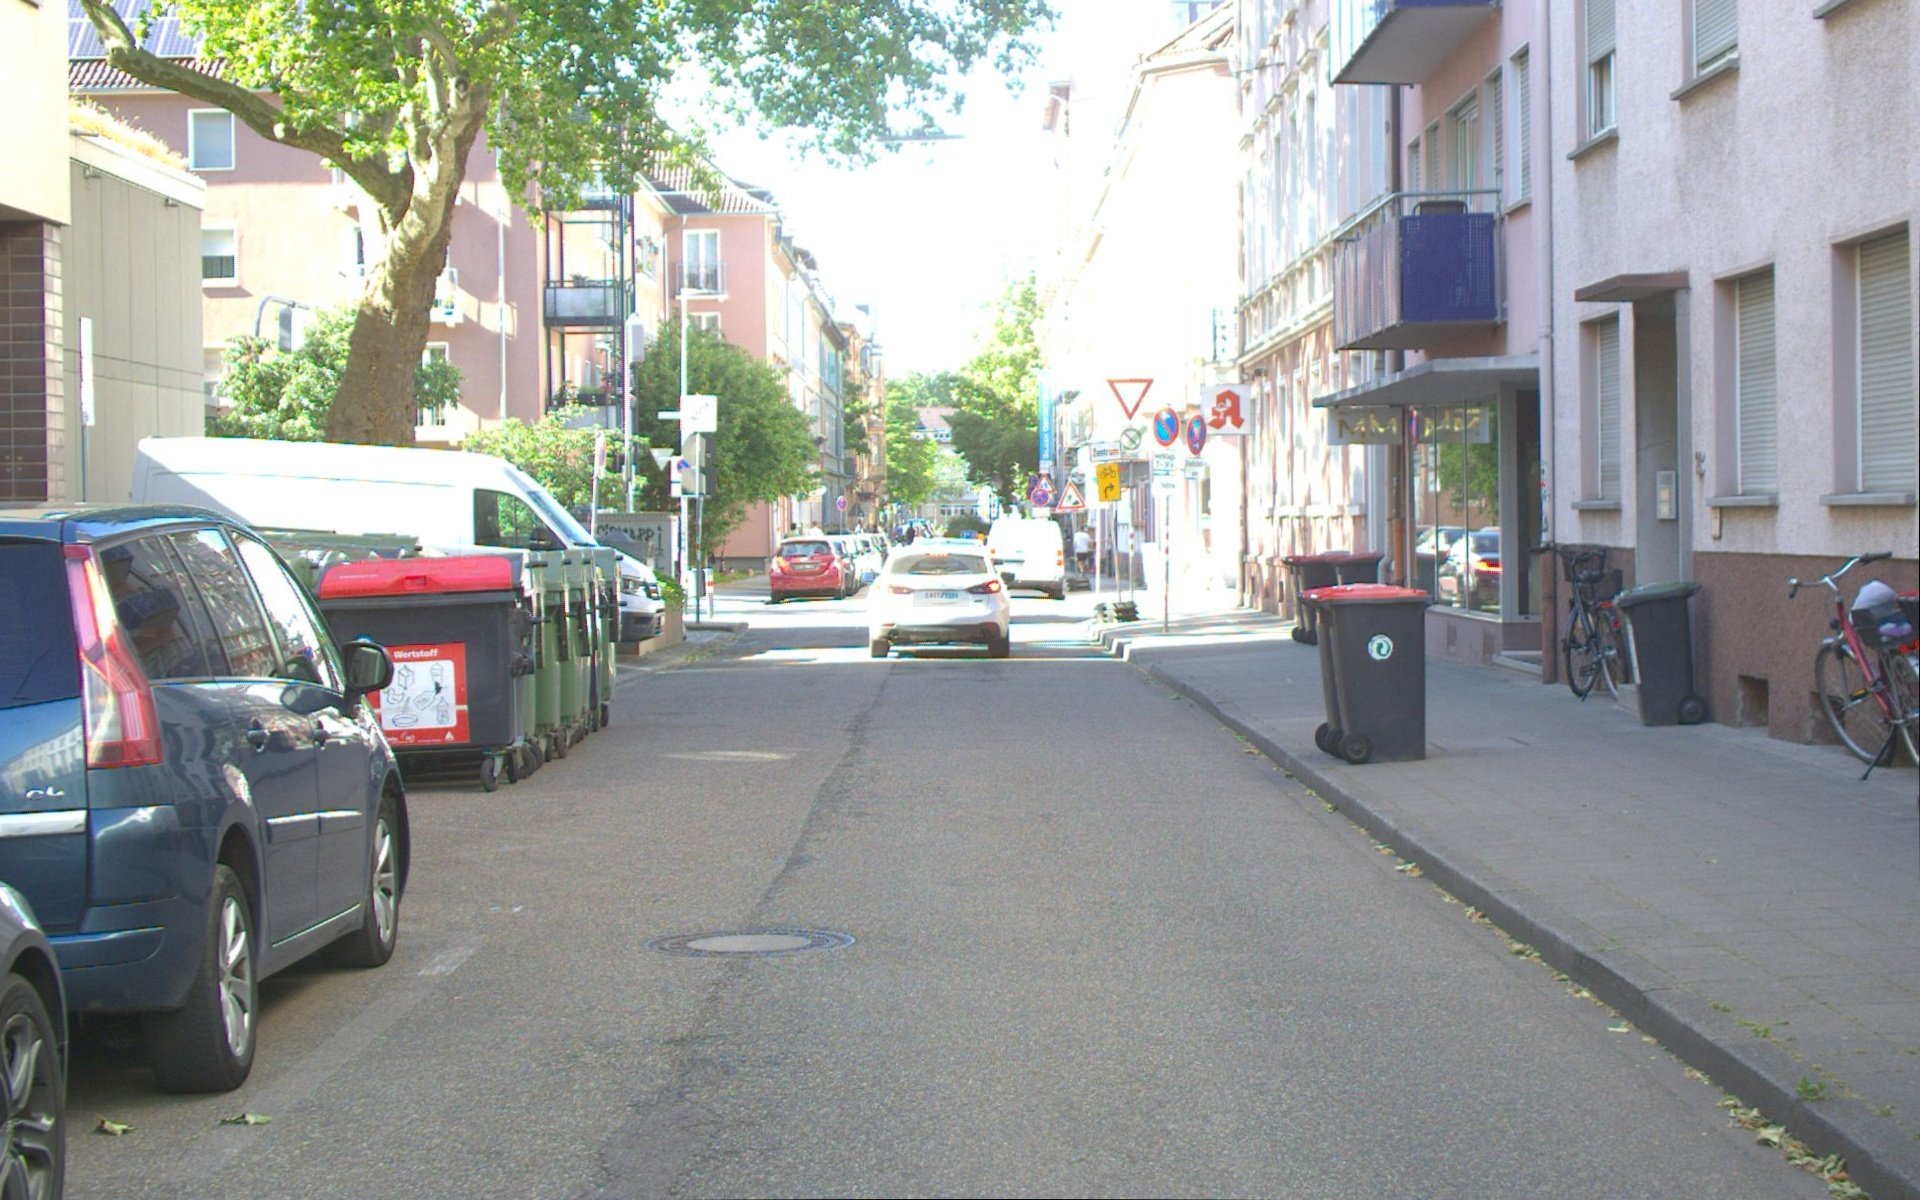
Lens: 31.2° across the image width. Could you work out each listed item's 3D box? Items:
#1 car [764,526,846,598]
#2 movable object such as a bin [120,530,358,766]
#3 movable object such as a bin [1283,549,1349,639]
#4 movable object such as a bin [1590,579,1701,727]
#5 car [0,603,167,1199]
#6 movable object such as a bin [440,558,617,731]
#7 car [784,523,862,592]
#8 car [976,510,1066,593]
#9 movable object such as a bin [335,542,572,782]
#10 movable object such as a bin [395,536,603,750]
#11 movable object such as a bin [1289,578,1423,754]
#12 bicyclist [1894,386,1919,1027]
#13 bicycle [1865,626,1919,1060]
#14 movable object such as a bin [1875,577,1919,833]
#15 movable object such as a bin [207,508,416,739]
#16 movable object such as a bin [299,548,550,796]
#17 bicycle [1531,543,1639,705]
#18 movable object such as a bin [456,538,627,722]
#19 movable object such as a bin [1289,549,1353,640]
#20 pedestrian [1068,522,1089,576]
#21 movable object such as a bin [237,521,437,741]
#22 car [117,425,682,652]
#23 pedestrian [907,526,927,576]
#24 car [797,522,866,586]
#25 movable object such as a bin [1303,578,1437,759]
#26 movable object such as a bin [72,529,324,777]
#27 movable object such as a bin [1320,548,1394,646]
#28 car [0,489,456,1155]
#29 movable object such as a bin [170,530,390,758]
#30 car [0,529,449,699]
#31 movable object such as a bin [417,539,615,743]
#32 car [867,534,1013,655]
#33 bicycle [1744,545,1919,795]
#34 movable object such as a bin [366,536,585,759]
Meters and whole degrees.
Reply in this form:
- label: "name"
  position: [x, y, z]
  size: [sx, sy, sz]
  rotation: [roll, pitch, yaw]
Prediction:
- label: "car"
  position: [-3.613, -0.920, 80.634]
  size: [1.769, 1.583, 3.726]
  rotation: [-1, 2, 0]
- label: "movable object such as a bin"
  position: [-4.677, 0.298, 22.398]
  size: [1.305, 1.493, 1.157]
  rotation: [0, 0, 0]
- label: "movable object such as a bin"
  position: [4.325, -0.079, 41.817]
  size: [0.745, 1.082, 0.634]
  rotation: [-1, 0, 2]
- label: "movable object such as a bin"
  position: [4.519, 0.344, 22.690]
  size: [0.598, 0.948, 0.682]
  rotation: [-1, 0, 1]
- label: "car"
  position: [-2.802, 0.770, 5.601]
  size: [1.845, 1.412, 4.818]
  rotation: [-2, 1, 0]
- label: "movable object such as a bin"
  position: [-3.329, 0.333, 26.637]
  size: [1.241, 1.317, 1.046]
  rotation: [0, 0, 0]
- label: "car"
  position: [-3.417, -1.071, 86.229]
  size: [1.720, 1.677, 3.726]
  rotation: [-1, 1, 1]
- label: "car"
  position: [1.462, -1.190, 83.797]
  size: [1.942, 1.941, 4.079]
  rotation: [0, 1, -2]
- label: "movable object such as a bin"
  position: [-3.279, 0.391, 22.397]
  size: [1.334, 1.479, 1.093]
  rotation: [-2, 0, 0]
- label: "movable object such as a bin"
  position: [-3.266, 0.295, 24.476]
  size: [1.343, 1.493, 1.018]
  rotation: [0, 0, 0]
- label: "movable object such as a bin"
  position: [2.494, 0.410, 21.739]
  size: [0.768, 1.083, 0.693]
  rotation: [-1, 0, 1]
- label: "bicyclist"
  position: [2.819, 0.336, 8.402]
  size: [0.760, 1.764, 0.823]
  rotation: [-3, 2, -2]
- label: "bicycle"
  position: [2.866, 0.660, 8.415]
  size: [0.663, 1.133, 1.988]
  rotation: [-3, 2, -2]
- label: "movable object such as a bin"
  position: [4.474, 0.435, 15.017]
  size: [0.739, 1.094, 0.640]
  rotation: [-3, 0, 1]
- label: "movable object such as a bin"
  position: [-4.599, 0.159, 24.476]
  size: [1.294, 1.615, 1.018]
  rotation: [0, 0, 0]
- label: "movable object such as a bin"
  position: [-3.283, 0.427, 21.223]
  size: [1.319, 1.445, 1.187]
  rotation: [-2, 0, 0]
- label: "bicycle"
  position: [4.608, 0.158, 25.426]
  size: [0.453, 1.130, 1.920]
  rotation: [-3, 1, 2]
- label: "movable object such as a bin"
  position: [-3.358, 0.231, 27.735]
  size: [1.300, 1.446, 1.118]
  rotation: [0, 0, -3]
- label: "movable object such as a bin"
  position: [4.323, -0.065, 41.185]
  size: [0.701, 1.069, 0.596]
  rotation: [-1, 0, 2]
- label: "pedestrian"
  position: [3.827, -1.631, 110.903]
  size: [0.617, 1.727, 0.560]
  rotation: [-1, 0, -1]
- label: "movable object such as a bin"
  position: [-4.615, 0.224, 25.541]
  size: [1.288, 1.599, 1.082]
  rotation: [0, 0, 0]
- label: "car"
  position: [-7.078, -0.780, 43.902]
  size: [6.739, 2.546, 2.145]
  rotation: [3, 1, 2]
- label: "pedestrian"
  position: [-1.552, -1.774, 124.147]
  size: [0.647, 1.791, 0.639]
  rotation: [-1, 0, 1]
- label: "car"
  position: [-3.415, -1.212, 91.743]
  size: [1.635, 1.650, 3.785]
  rotation: [-1, 1, 1]
- label: "movable object such as a bin"
  position: [2.501, 0.410, 21.026]
  size: [0.732, 1.077, 0.703]
  rotation: [-1, 0, 1]
- label: "movable object such as a bin"
  position: [-4.687, 0.312, 21.240]
  size: [1.296, 1.493, 1.179]
  rotation: [0, 0, 0]
- label: "movable object such as a bin"
  position: [4.528, -0.036, 39.238]
  size: [0.729, 1.100, 0.693]
  rotation: [-1, 0, -2]
- label: "car"
  position: [-2.880, 0.531, 10.981]
  size: [1.782, 1.661, 4.670]
  rotation: [-2, 1, 0]
- label: "movable object such as a bin"
  position: [-4.626, 0.288, 23.475]
  size: [1.302, 1.517, 1.018]
  rotation: [0, 0, 0]
- label: "car"
  position: [-6.737, 0.119, 31.418]
  size: [3.875, 1.499, 1.827]
  rotation: [0, 0, -1]
- label: "movable object such as a bin"
  position: [-3.283, 0.291, 25.545]
  size: [1.334, 1.486, 1.082]
  rotation: [0, 0, 0]
- label: "car"
  position: [-0.273, -0.105, 45.221]
  size: [1.823, 1.509, 3.824]
  rotation: [-1, 1, -1]
- label: "bicycle"
  position: [4.618, 0.325, 17.809]
  size: [0.536, 1.166, 2.076]
  rotation: [-5, 1, 0]
- label: "movable object such as a bin"
  position: [-3.286, 0.312, 23.441]
  size: [1.348, 1.482, 1.003]
  rotation: [0, 0, 0]
